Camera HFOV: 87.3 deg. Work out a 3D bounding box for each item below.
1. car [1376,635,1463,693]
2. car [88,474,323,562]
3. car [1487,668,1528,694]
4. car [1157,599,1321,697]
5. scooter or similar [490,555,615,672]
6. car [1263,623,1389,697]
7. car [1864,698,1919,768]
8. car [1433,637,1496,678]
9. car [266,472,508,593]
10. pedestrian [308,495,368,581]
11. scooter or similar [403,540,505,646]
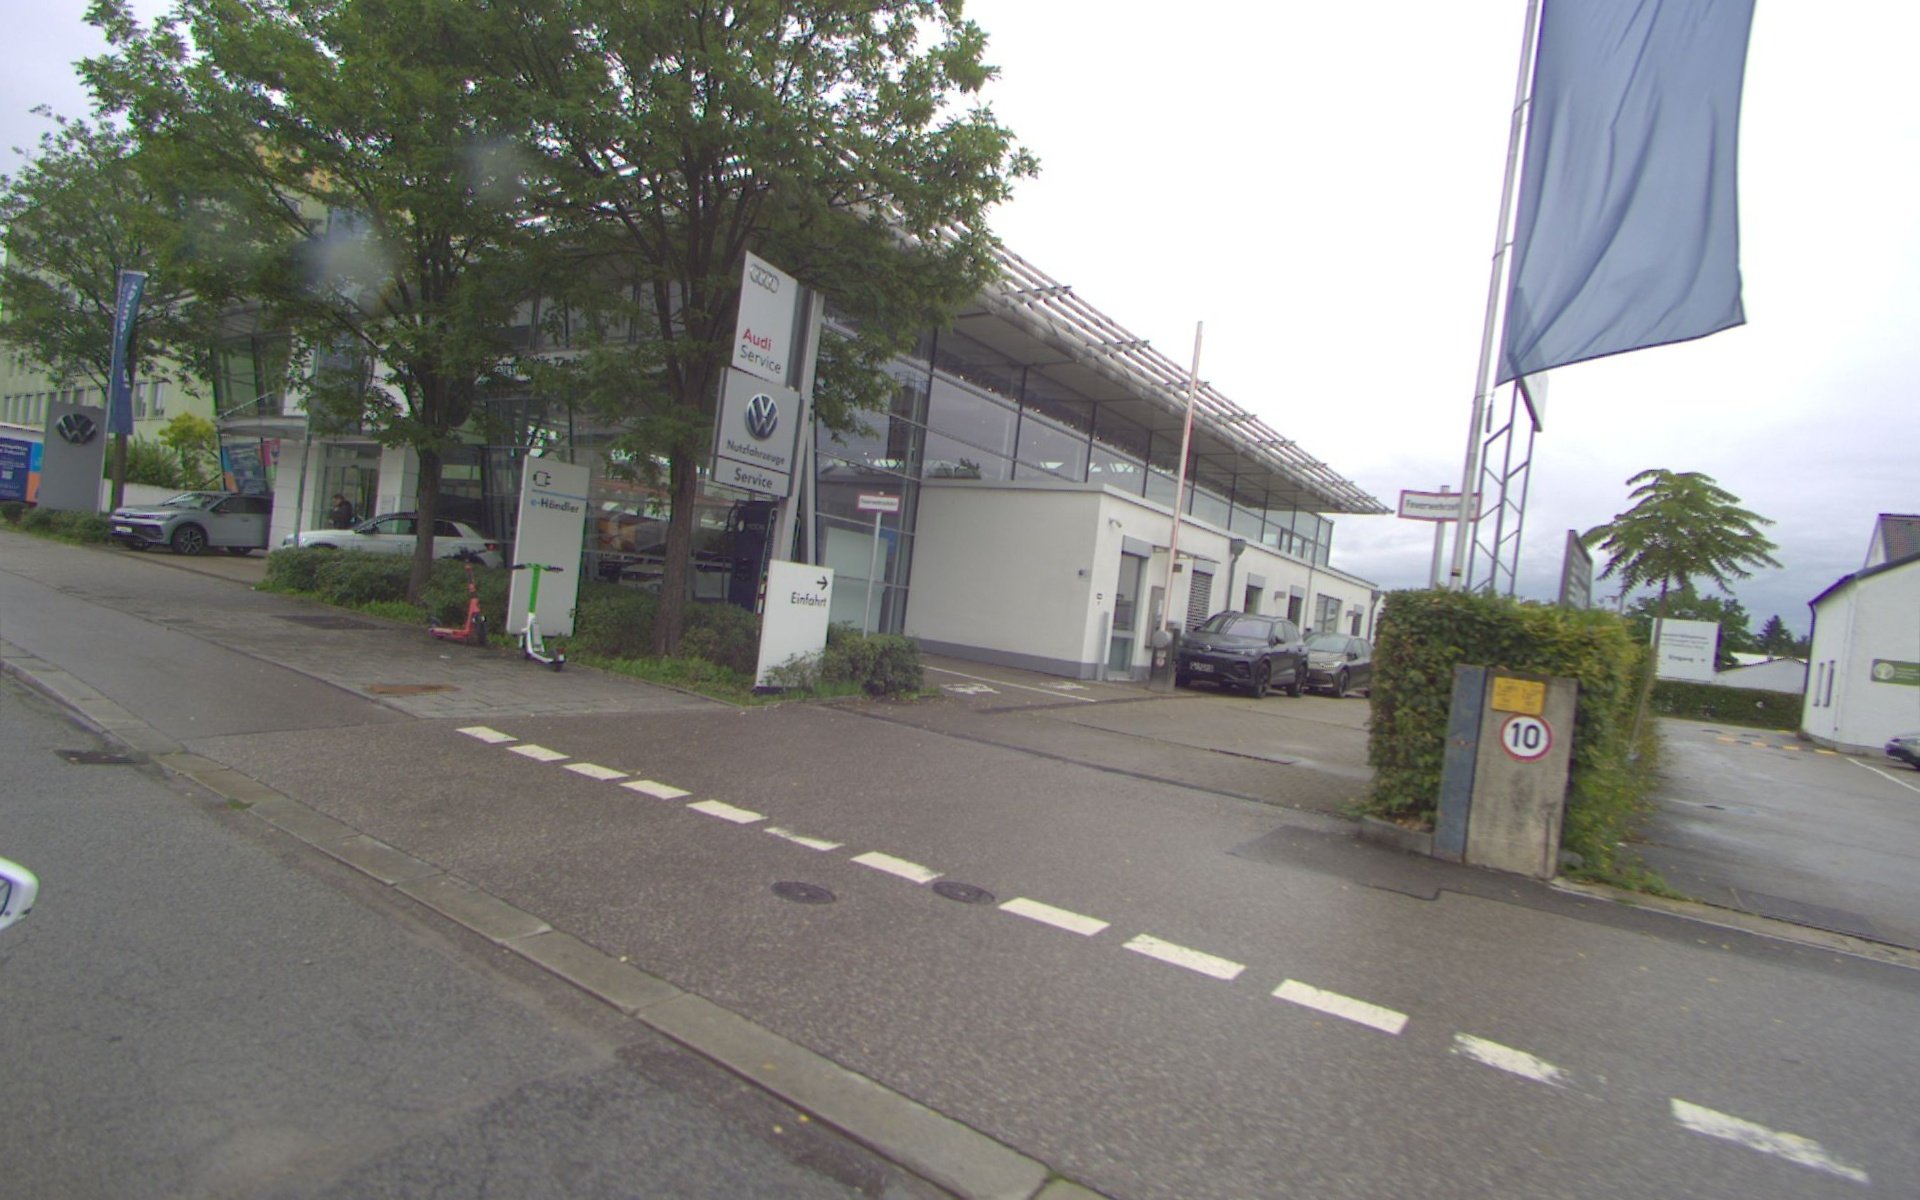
[{"bbox_3d":[15.879,2.210,34.658,1.855,1.626,4.264,8,2,35],"label":"car"},{"bbox_3d":[-19.399,-2.044,26.174,1.969,1.729,4.602,5,1,15],"label":"car"},{"bbox_3d":[32.253,4.777,59.218,1.581,1.246,4.018,7,0,35],"label":"car"},{"bbox_3d":[5.878,1.011,20.849,1.831,1.602,4.264,8,2,35],"label":"car"},{"bbox_3d":[-4.810,0.143,11.855,1.404,1.221,0.496,6,3,26],"label":"scooter or similar"},{"bbox_3d":[9.377,1.518,25.587,1.850,1.492,4.264,8,1,35],"label":"car"},{"bbox_3d":[24.174,3.372,23.516,4.156,1.513,1.921,7,0,34],"label":"car"},{"bbox_3d":[20.689,2.374,41.136,1.581,1.382,4.264,8,1,35],"label":"car"},{"bbox_3d":[-12.098,-1.362,21.462,4.212,2.040,1.947,5,1,-31],"label":"car"},{"bbox_3d":[-13.857,-1.366,22.426,0.704,1.798,0.805,7,1,-9],"label":"pedestrian"},{"bbox_3d":[-6.616,-0.100,13.137,1.406,1.221,0.495,8,4,33],"label":"scooter or similar"}]
